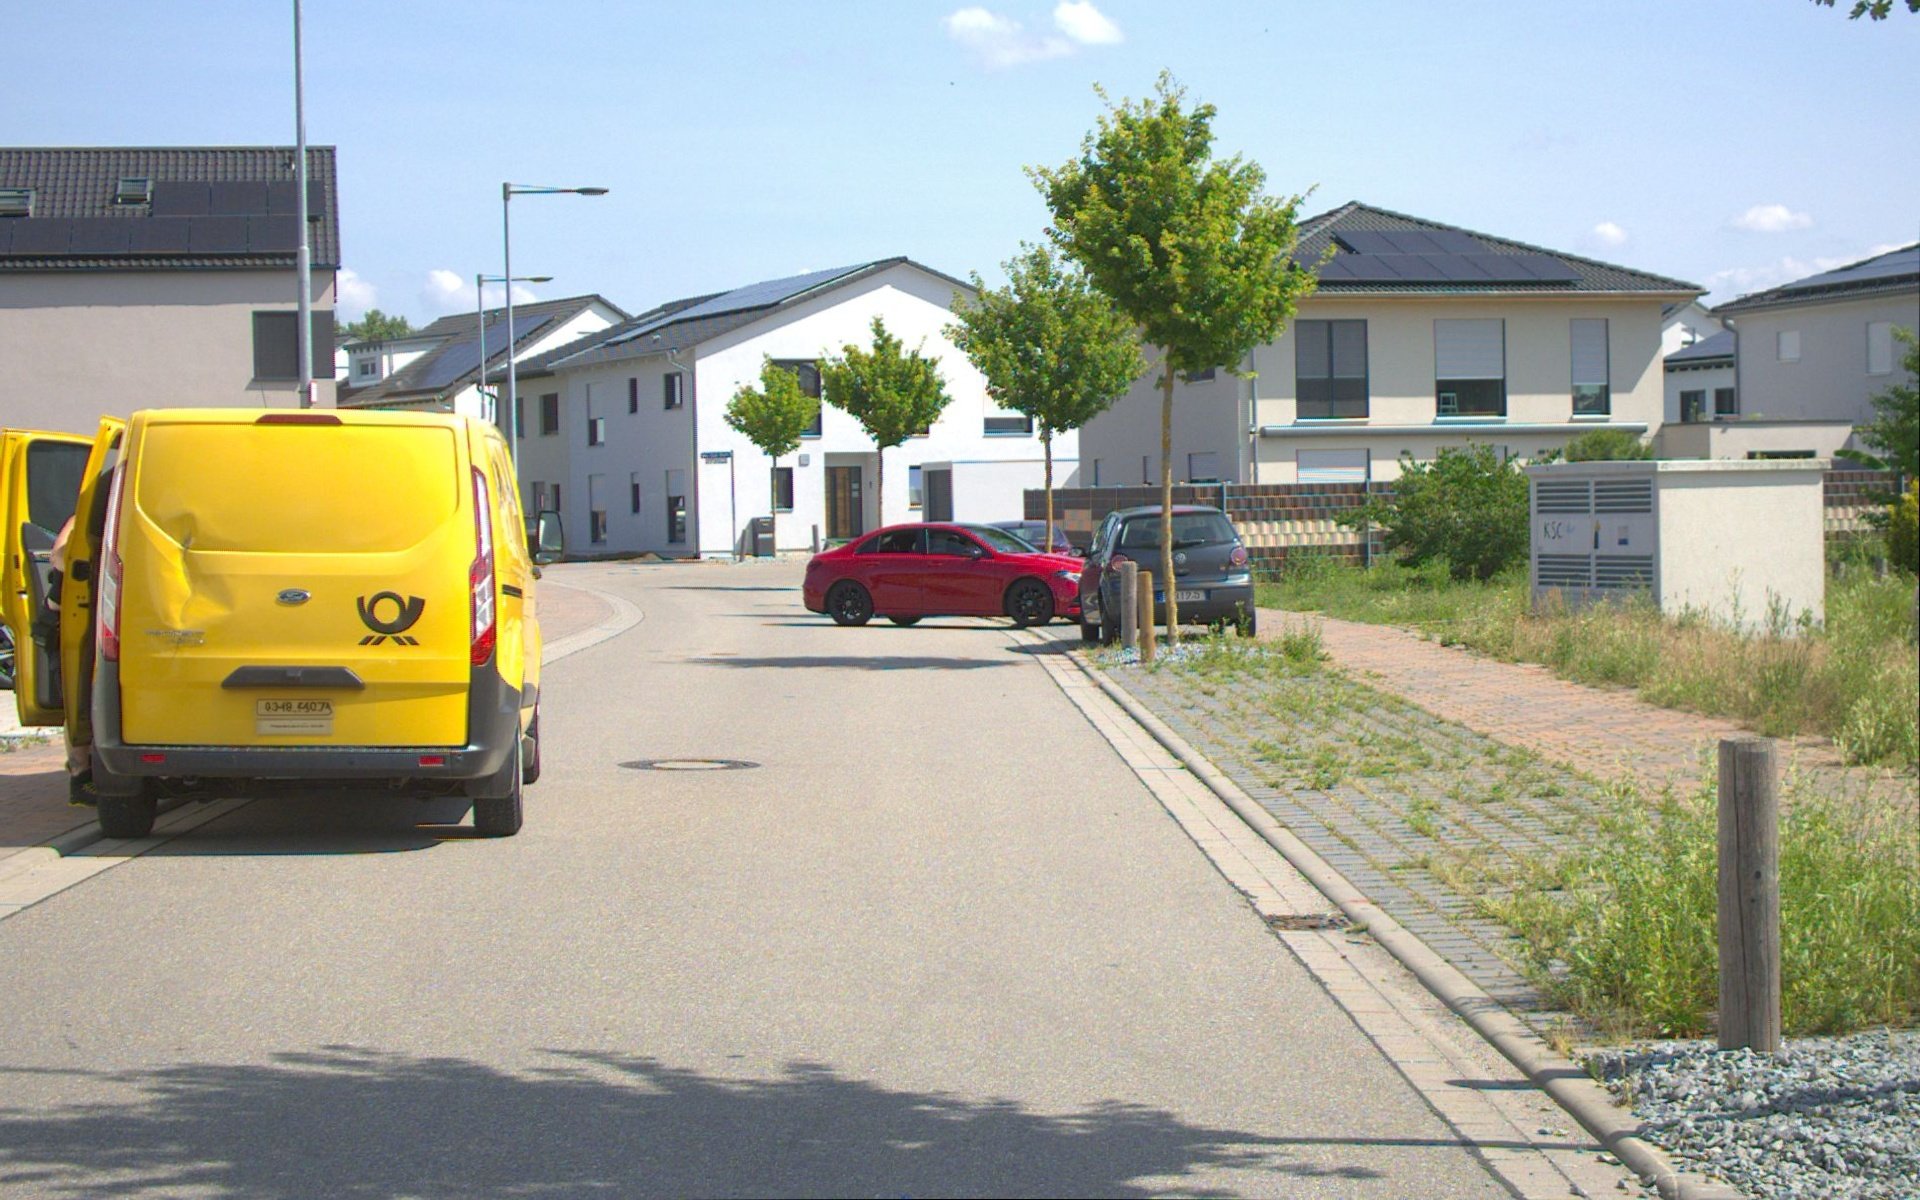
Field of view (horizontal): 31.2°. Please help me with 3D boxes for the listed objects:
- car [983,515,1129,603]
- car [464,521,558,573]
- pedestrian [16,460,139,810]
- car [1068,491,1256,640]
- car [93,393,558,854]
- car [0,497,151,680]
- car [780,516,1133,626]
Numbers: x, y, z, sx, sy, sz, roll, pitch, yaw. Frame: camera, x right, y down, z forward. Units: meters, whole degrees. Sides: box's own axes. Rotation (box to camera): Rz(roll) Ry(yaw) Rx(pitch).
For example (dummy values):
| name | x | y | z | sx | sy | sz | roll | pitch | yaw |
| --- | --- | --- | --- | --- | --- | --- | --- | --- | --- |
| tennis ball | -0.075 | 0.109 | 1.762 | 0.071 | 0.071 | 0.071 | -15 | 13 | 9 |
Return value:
| name | x | y | z | sx | sy | sz | roll | pitch | yaw |
| --- | --- | --- | --- | --- | --- | --- | --- | --- | --- |
| car | 1.525 | -0.701 | 56.393 | 1.754 | 1.358 | 4.577 | 0 | 2 | -7 |
| car | -12.835 | -1.518 | 98.212 | 1.726 | 1.418 | 4.001 | -2 | 2 | -21 |
| pedestrian | -4.434 | 0.168 | 17.299 | 0.531 | 1.732 | 0.570 | 0 | 2 | -7 |
| car | 2.148 | -0.410 | 37.398 | 1.598 | 1.470 | 3.675 | -3 | 2 | -3 |
| car | -3.074 | 0.058 | 17.565 | 1.883 | 2.007 | 4.842 | 1 | 1 | -5 |
| car | -8.827 | -0.109 | 27.867 | 4.391 | 1.447 | 1.750 | 0 | 1 | -14 |
| car | -0.061 | -0.421 | 46.823 | 4.511 | 1.433 | 1.766 | 1 | 2 | 28 |
